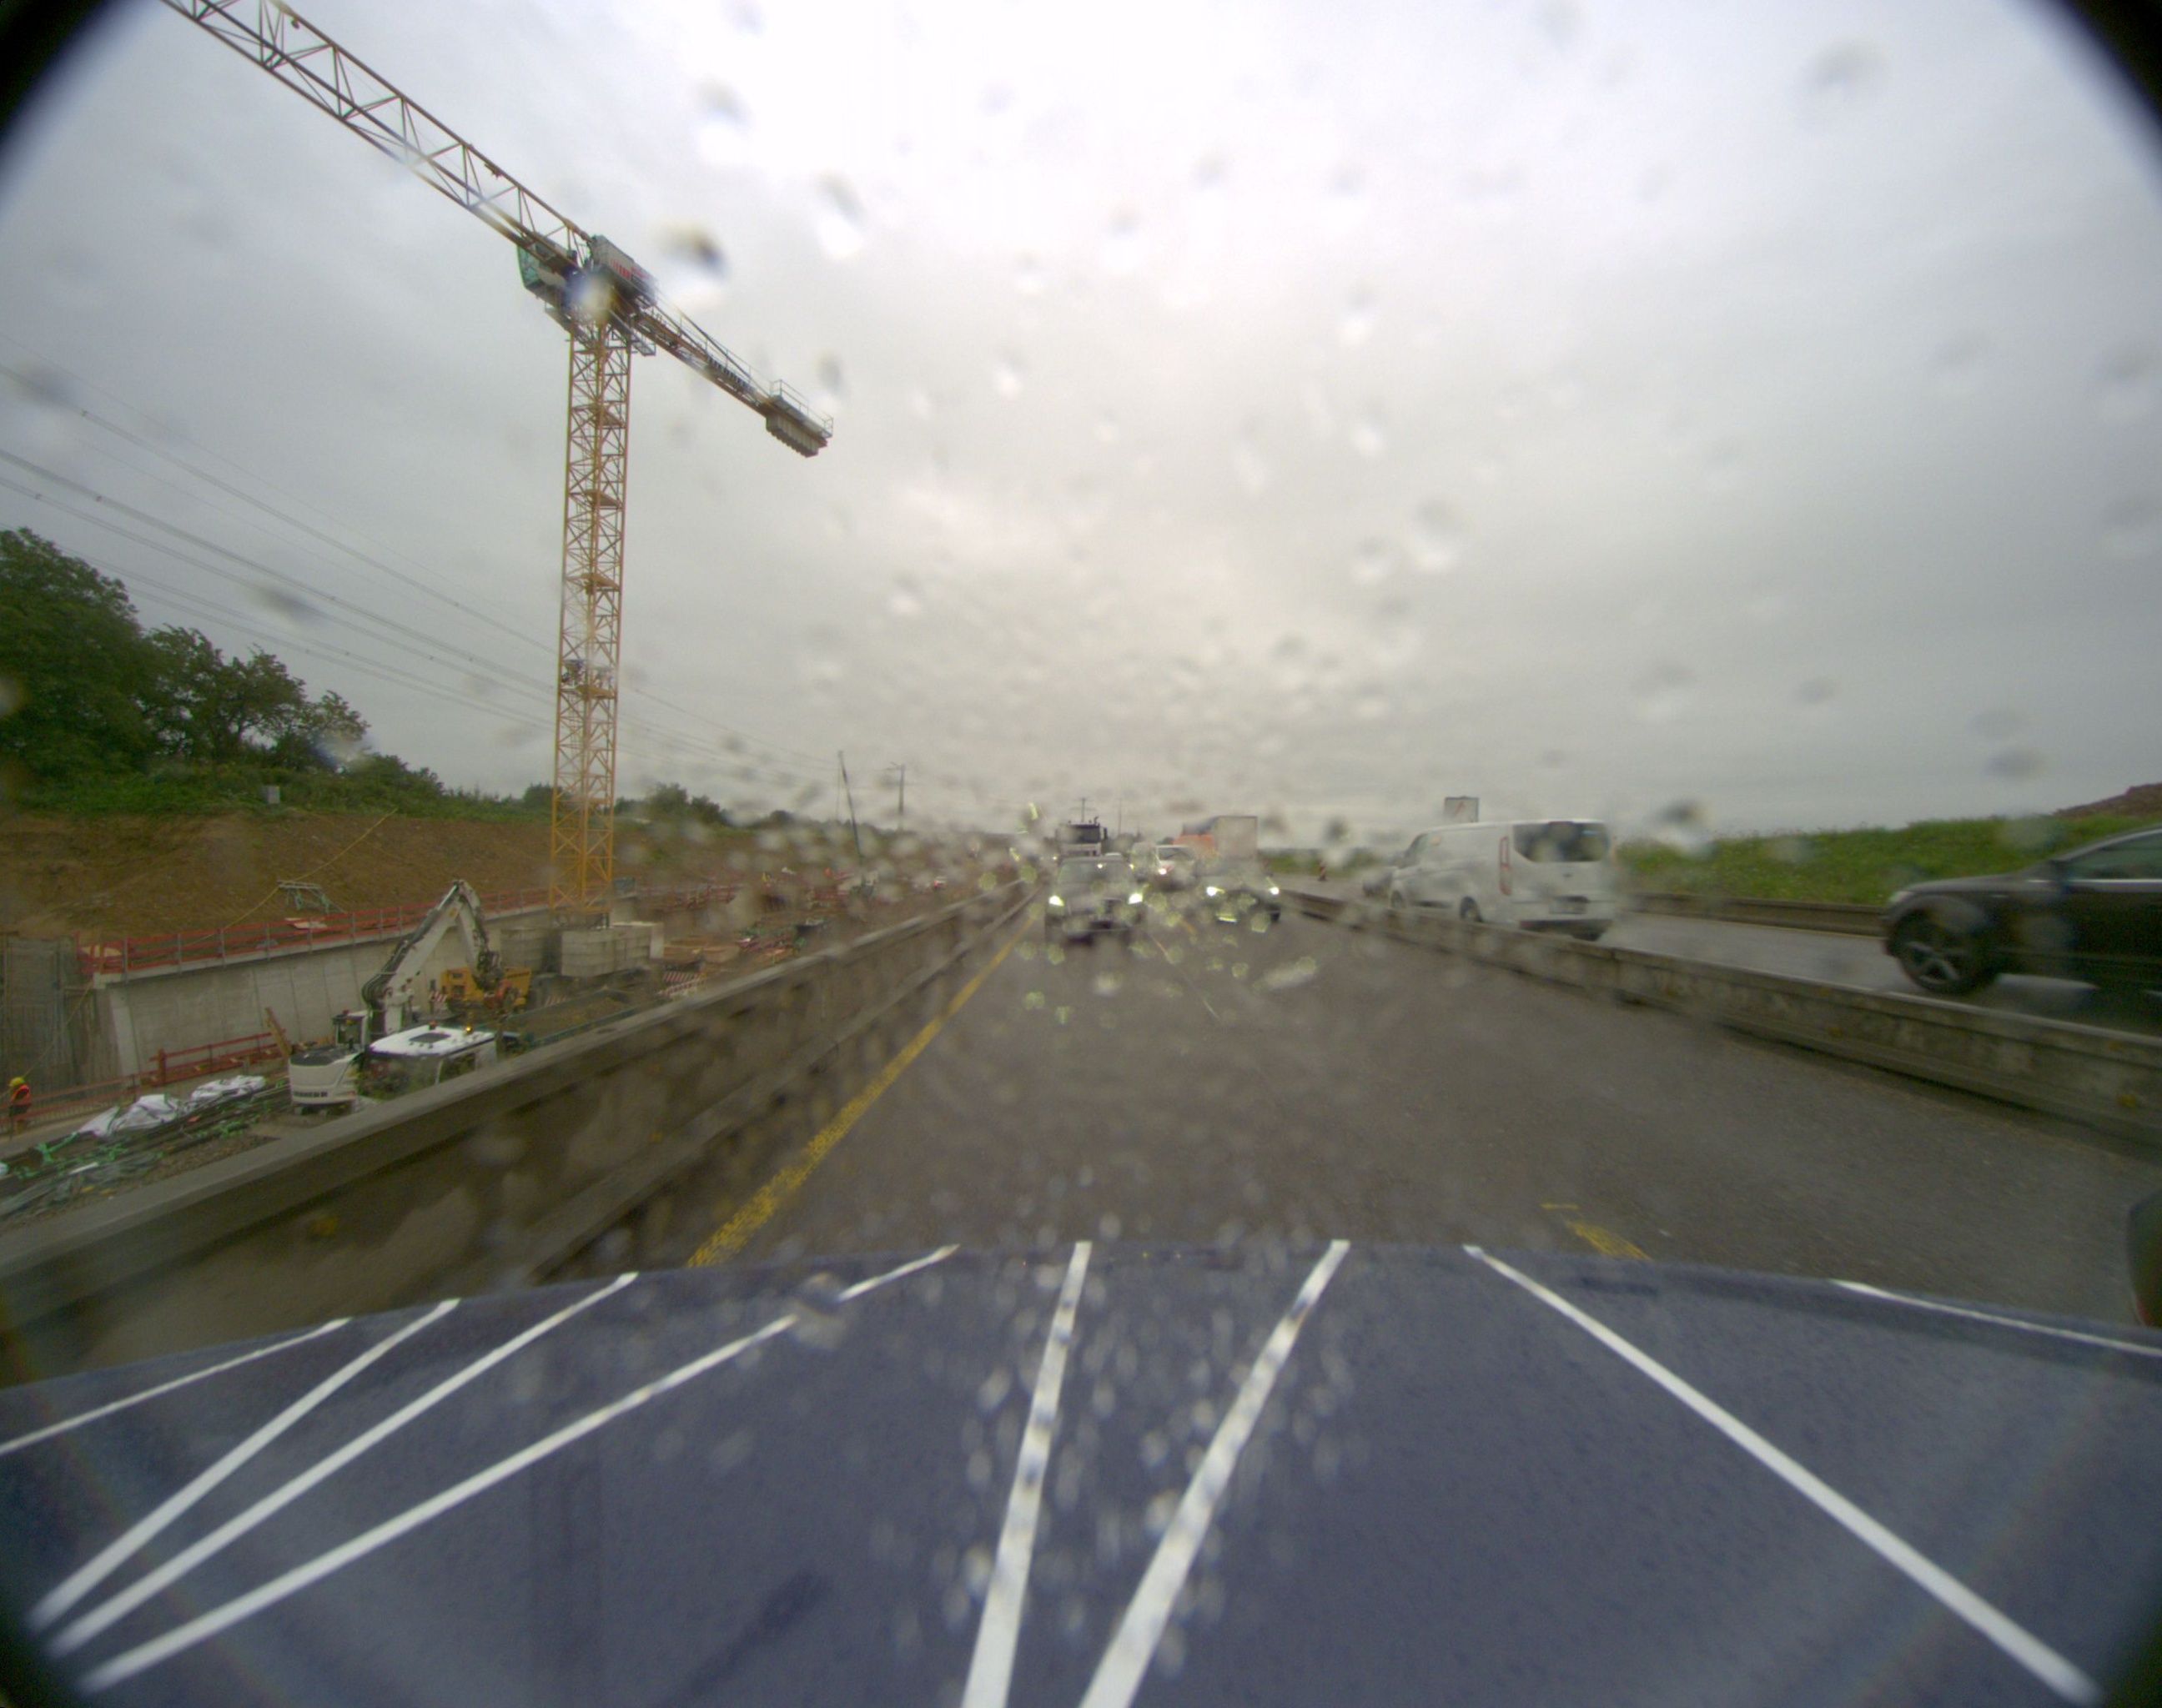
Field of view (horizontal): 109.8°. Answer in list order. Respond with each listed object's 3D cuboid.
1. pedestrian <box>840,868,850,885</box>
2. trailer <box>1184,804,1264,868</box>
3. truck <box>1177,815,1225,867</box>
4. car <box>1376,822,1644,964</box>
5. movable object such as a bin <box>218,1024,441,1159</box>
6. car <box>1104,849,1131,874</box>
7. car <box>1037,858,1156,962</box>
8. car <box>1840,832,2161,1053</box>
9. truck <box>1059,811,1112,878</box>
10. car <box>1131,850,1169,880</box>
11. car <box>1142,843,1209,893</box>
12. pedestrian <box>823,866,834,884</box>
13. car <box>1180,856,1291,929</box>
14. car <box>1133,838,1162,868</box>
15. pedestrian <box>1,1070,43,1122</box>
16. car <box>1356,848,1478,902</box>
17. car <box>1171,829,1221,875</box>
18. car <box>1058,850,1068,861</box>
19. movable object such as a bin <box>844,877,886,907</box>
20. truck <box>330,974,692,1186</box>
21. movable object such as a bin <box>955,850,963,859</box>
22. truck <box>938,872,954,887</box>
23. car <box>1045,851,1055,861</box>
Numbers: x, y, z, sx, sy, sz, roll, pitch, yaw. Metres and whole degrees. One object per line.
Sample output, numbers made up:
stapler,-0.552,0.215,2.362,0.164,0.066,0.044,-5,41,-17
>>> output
pedestrian,-32.839,3.134,105.695,0.917,2.219,1.005,-6,3,0
trailer,10.101,-1.103,55.668,2.787,4.011,13.739,-2,0,-2
truck,9.868,-1.028,63.009,2.796,4.011,5.819,-2,0,-1
car,7.174,0.503,13.472,1.998,1.988,4.968,-2,2,1
movable object such as a bin,-20.863,6.541,21.313,3.157,2.722,2.968,-2,1,1
car,2.947,0.568,61.570,1.800,1.851,4.285,-2,1,-2
car,0.274,0.886,14.009,1.799,1.524,4.307,-2,0,1
car,9.268,0.658,5.805,1.998,1.677,4.969,-2,0,1
truck,0.156,-0.600,46.803,2.837,3.617,9.117,-2,1,-1
car,3.872,0.561,43.200,1.799,1.521,4.067,-2,1,1
car,3.861,0.492,31.936,2.160,1.848,5.178,-2,1,1
pedestrian,-33.723,2.819,101.583,0.918,2.233,1.005,-6,3,-7
car,3.520,0.807,18.097,1.799,1.389,4.268,-2,1,1
car,6.247,-0.084,72.509,2.011,2.638,6.884,-2,0,-1
pedestrian,-32.508,7.424,23.320,0.424,1.427,0.399,-11,1,4
car,10.497,0.587,24.145,1.998,1.492,4.536,-2,0,2
car,7.043,-0.114,47.230,2.059,2.562,7.021,-2,0,1
car,-3.222,0.189,137.030,1.800,1.851,4.285,-2,1,-1
movable object such as a bin,-25.123,4.385,88.694,3.803,2.790,4.848,-1,6,-4
truck,-16.134,6.163,22.835,2.703,3.483,8.954,-2,1,12
movable object such as a bin,-38.447,0.172,238.688,2.253,2.704,3.997,-2,1,-7
truck,-20.349,3.820,114.441,1.767,1.860,5.783,0,1,-4
car,-6.354,0.450,154.904,1.800,1.851,4.285,-2,1,-1
